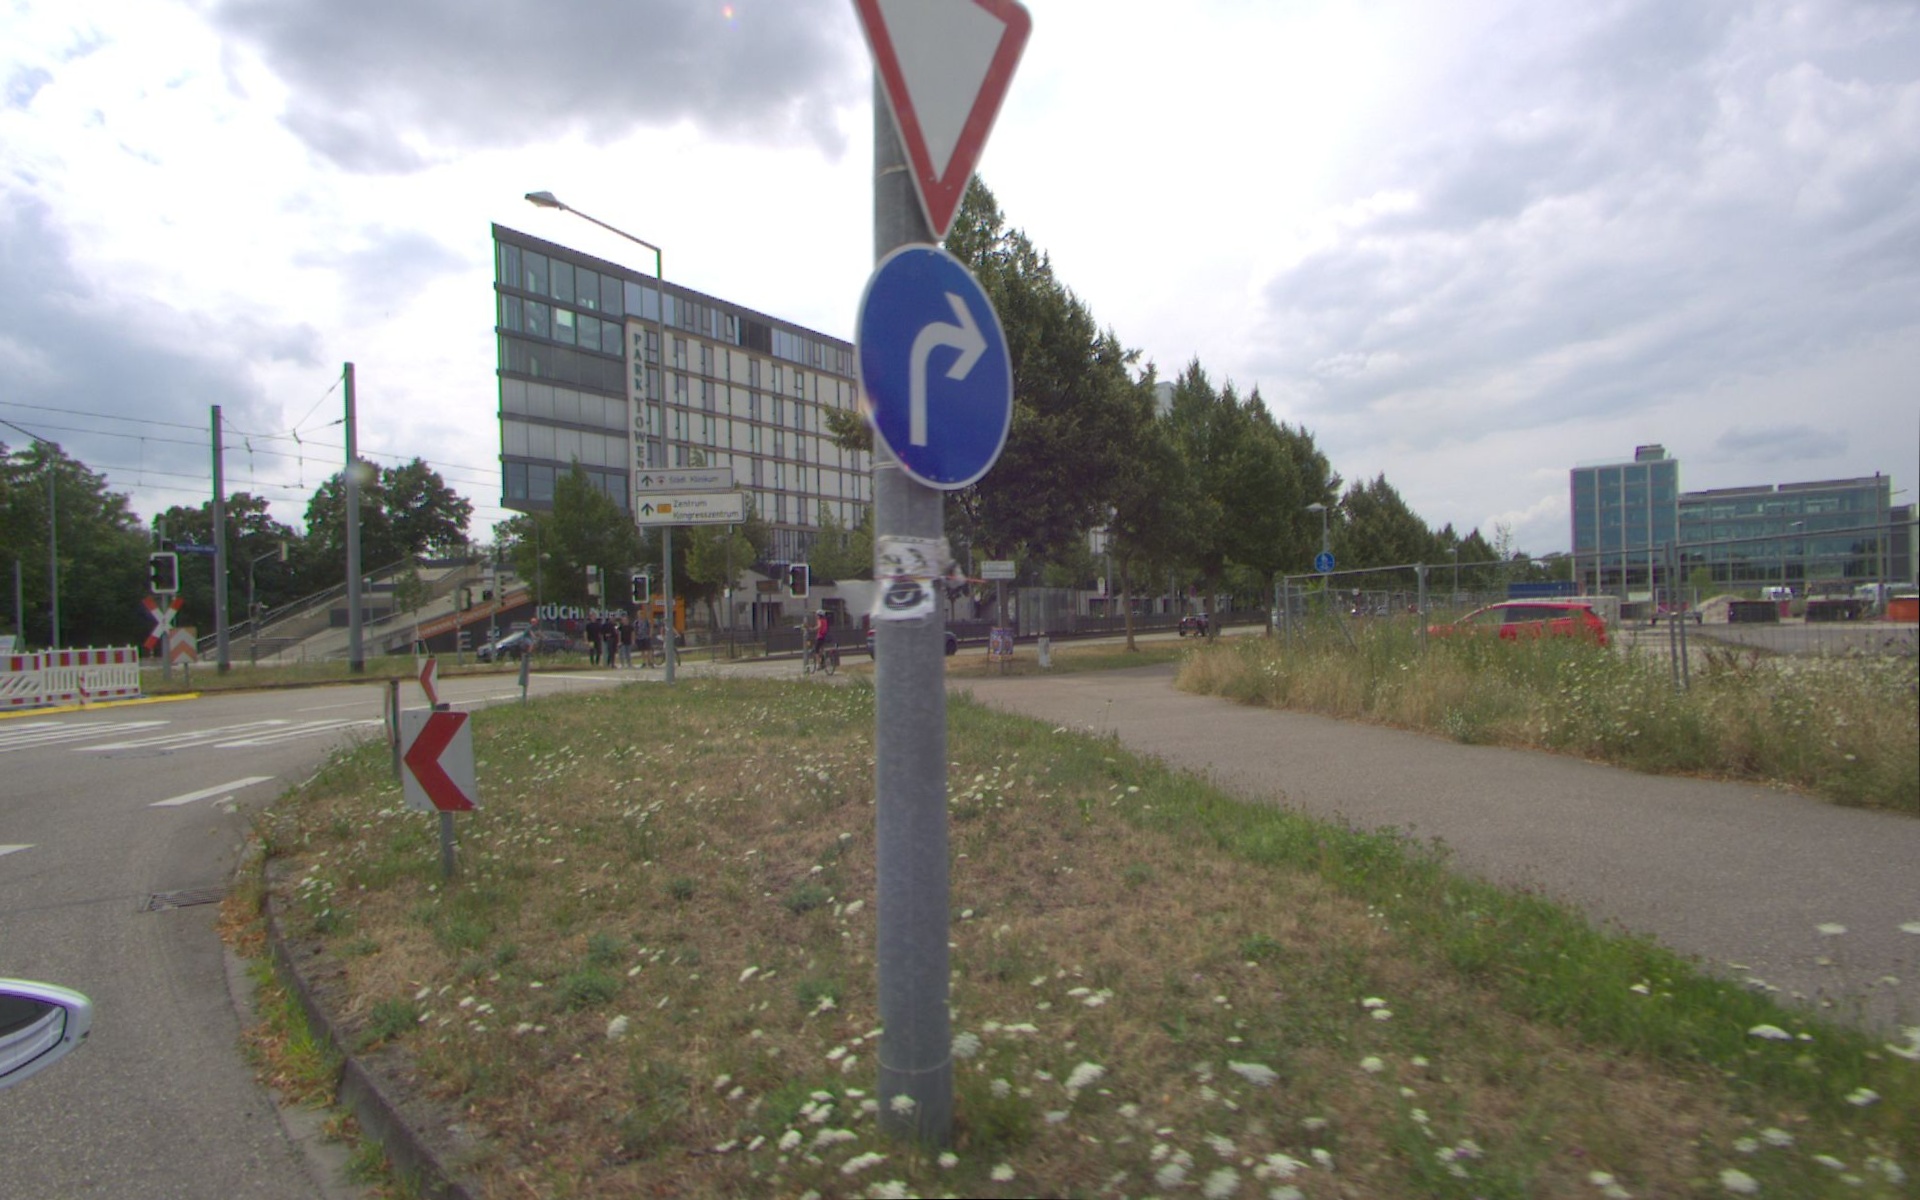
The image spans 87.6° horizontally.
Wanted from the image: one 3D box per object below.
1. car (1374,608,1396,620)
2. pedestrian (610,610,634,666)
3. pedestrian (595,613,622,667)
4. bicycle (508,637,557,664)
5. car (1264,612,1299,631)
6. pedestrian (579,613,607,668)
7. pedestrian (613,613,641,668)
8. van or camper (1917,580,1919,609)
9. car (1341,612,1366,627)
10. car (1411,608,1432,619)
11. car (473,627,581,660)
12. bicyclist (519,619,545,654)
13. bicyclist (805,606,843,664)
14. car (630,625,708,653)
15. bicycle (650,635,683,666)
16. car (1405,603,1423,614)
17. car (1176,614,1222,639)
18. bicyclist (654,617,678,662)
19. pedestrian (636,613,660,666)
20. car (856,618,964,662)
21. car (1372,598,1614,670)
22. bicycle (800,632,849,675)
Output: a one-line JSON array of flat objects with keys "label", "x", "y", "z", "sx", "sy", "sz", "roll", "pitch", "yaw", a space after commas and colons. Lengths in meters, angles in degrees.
[{"label": "car", "x": 55.109, "y": 1.799, "z": 129.778, "sx": 1.777, "sy": 1.516, "sz": 4.235, "roll": -1, "pitch": -1, "yaw": 34}, {"label": "pedestrian", "x": -11.557, "y": 1.288, "z": 34.214, "sx": 0.544, "sy": 1.886, "sz": 0.529, "roll": -1, "pitch": 0, "yaw": 28}, {"label": "pedestrian", "x": -11.811, "y": 1.327, "z": 33.629, "sx": 0.544, "sy": 1.805, "sz": 0.631, "roll": -1, "pitch": 0, "yaw": 28}, {"label": "bicycle", "x": -16.366, "y": 1.935, "z": 38.350, "sx": 1.724, "sy": 1.020, "sz": 0.653, "roll": -1, "pitch": -1, "yaw": 17}, {"label": "car", "x": 26.685, "y": 1.772, "z": 82.986, "sx": 1.804, "sy": 1.481, "sz": 4.239, "roll": -1, "pitch": -1, "yaw": 31}, {"label": "pedestrian", "x": -12.072, "y": 1.320, "z": 32.950, "sx": 0.544, "sy": 1.805, "sz": 0.687, "roll": -1, "pitch": 0, "yaw": 28}, {"label": "pedestrian", "x": -11.170, "y": 1.347, "z": 33.599, "sx": 0.544, "sy": 1.805, "sz": 0.687, "roll": -1, "pitch": 0, "yaw": 28}, {"label": "van or camper", "x": 89.619, "y": -0.528, "z": 91.096, "sx": 2.316, "sy": 2.723, "sz": 5.223, "roll": -1, "pitch": -1, "yaw": 29}, {"label": "car", "x": 41.611, "y": 2.022, "z": 105.831, "sx": 1.776, "sy": 1.516, "sz": 4.096, "roll": -1, "pitch": -1, "yaw": 31}, {"label": "car", "x": 67.871, "y": 1.996, "z": 147.258, "sx": 1.973, "sy": 1.639, "sz": 4.725, "roll": -2, "pitch": -1, "yaw": 34}, {"label": "car", "x": -21.333, "y": 2.113, "z": 49.514, "sx": 1.824, "sy": 1.477, "sz": 4.709, "roll": -1, "pitch": -1, "yaw": 35}, {"label": "bicyclist", "x": -16.403, "y": 1.395, "z": 38.362, "sx": 0.663, "sy": 1.334, "sz": 0.639, "roll": -1, "pitch": 0, "yaw": 15}, {"label": "bicyclist", "x": -3.985, "y": 1.013, "z": 29.288, "sx": 0.780, "sy": 1.648, "sz": 1.044, "roll": -1, "pitch": 0, "yaw": -28}, {"label": "car", "x": -16.499, "y": 2.199, "z": 56.903, "sx": 1.824, "sy": 1.477, "sz": 3.975, "roll": -1, "pitch": -1, "yaw": 35}, {"label": "bicycle", "x": -10.478, "y": 1.779, "z": 35.724, "sx": 0.542, "sy": 1.072, "sz": 1.700, "roll": 0, "pitch": -1, "yaw": -38}, {"label": "car", "x": 70.662, "y": 1.334, "z": 155.762, "sx": 1.972, "sy": 1.639, "sz": 4.727, "roll": -2, "pitch": -1, "yaw": 33}, {"label": "car", "x": 15.815, "y": 1.742, "z": 66.102, "sx": 1.717, "sy": 1.539, "sz": 4.124, "roll": -1, "pitch": -1, "yaw": 32}, {"label": "bicyclist", "x": -10.519, "y": 1.404, "z": 35.811, "sx": 0.554, "sy": 1.601, "sz": 0.760, "roll": 0, "pitch": -1, "yaw": -38}, {"label": "pedestrian", "x": -10.632, "y": 1.335, "z": 34.146, "sx": 0.544, "sy": 1.805, "sz": 0.578, "roll": -1, "pitch": 0, "yaw": 28}, {"label": "car", "x": -1.895, "y": 1.545, "z": 39.342, "sx": 2.035, "sy": 1.571, "sz": 4.451, "roll": -1, "pitch": -1, "yaw": 32}, {"label": "car", "x": 12.982, "y": 0.854, "z": 24.694, "sx": 5.060, "sy": 1.625, "sz": 1.782, "roll": -2, "pitch": -1, "yaw": 28}, {"label": "bicycle", "x": -3.988, "y": 1.535, "z": 29.321, "sx": 0.779, "sy": 1.183, "sz": 2.033, "roll": -1, "pitch": -1, "yaw": -27}]
